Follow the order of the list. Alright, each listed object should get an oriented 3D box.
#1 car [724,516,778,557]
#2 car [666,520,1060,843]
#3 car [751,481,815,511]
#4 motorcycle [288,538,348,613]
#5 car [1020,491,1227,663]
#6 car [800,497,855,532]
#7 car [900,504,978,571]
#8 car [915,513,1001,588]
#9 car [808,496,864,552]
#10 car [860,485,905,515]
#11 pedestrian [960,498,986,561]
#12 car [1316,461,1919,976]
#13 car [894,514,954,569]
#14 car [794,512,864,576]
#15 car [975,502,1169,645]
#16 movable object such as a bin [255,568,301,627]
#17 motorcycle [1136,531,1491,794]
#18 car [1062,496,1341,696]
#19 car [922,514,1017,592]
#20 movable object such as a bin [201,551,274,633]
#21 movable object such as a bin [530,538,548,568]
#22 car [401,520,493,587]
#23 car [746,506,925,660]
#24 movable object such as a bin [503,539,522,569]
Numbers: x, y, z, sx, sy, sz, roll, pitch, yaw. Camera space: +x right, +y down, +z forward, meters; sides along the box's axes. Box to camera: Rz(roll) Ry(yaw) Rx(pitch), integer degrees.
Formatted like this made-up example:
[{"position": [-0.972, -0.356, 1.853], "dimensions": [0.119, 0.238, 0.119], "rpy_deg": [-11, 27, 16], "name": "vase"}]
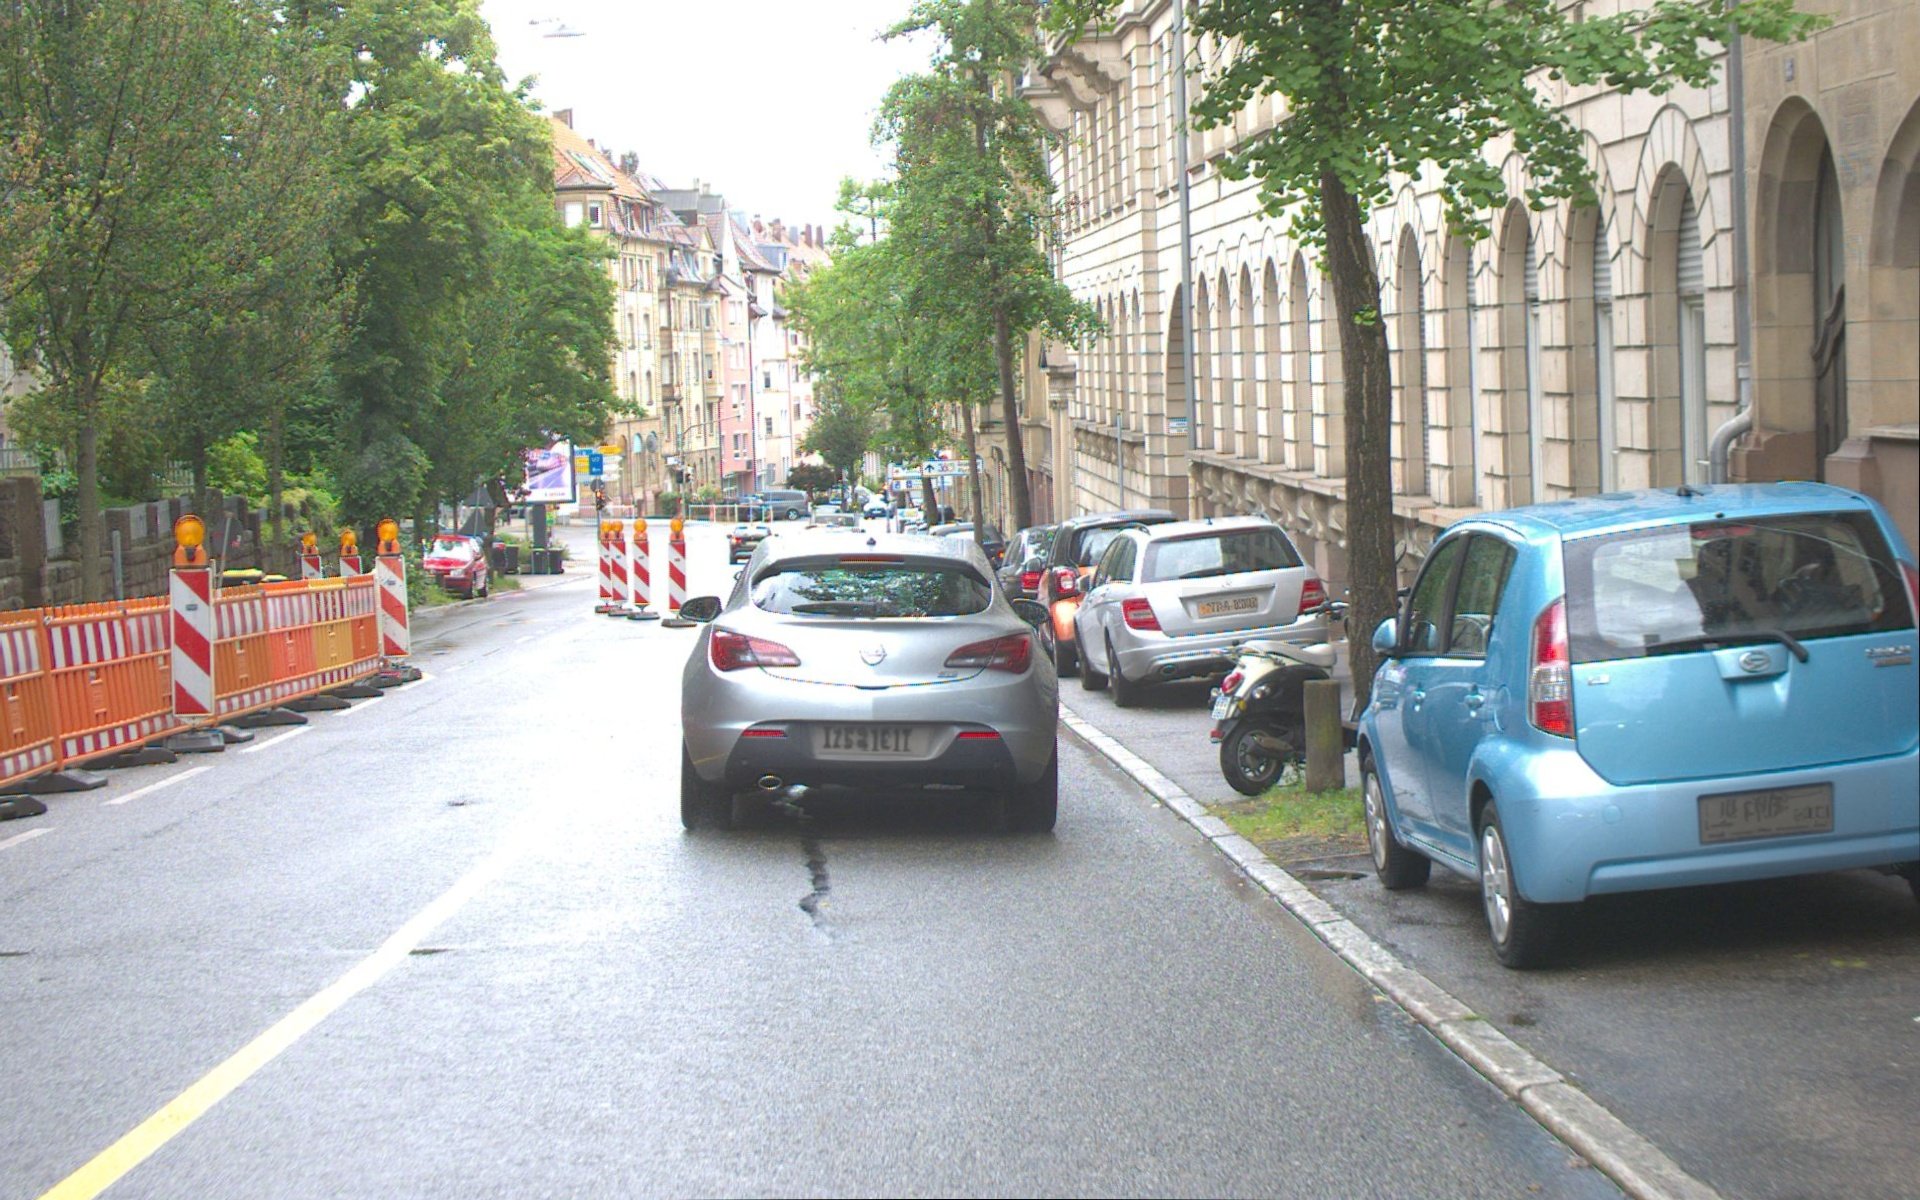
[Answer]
[{"position": [-8.135, -2.467, 133.374], "dimensions": [1.993, 1.495, 4.001], "rpy_deg": [-1, 1, -4], "name": "car"}, {"position": [-0.423, 0.334, 17.793], "dimensions": [1.811, 1.444, 3.869], "rpy_deg": [0, 2, 1], "name": "car"}, {"position": [-11.081, -6.500, 215.343], "dimensions": [3.986, 1.744, 2.000], "rpy_deg": [1, 1, -2], "name": "car"}, {"position": [-11.631, -0.454, 62.344], "dimensions": [0.765, 1.341, 2.203], "rpy_deg": [0, 1, -2], "name": "motorcycle"}, {"position": [1.587, -0.264, 34.381], "dimensions": [1.638, 1.515, 3.184], "rpy_deg": [-4, 2, -3], "name": "car"}, {"position": [-6.534, -4.204, 169.529], "dimensions": [1.994, 1.678, 3.999], "rpy_deg": [1, 1, 8], "name": "car"}, {"position": [-0.556, -1.595, 86.956], "dimensions": [1.637, 1.597, 3.859], "rpy_deg": [-2, 2, -5], "name": "car"}, {"position": [-0.065, -1.061, 72.134], "dimensions": [1.637, 1.464, 3.858], "rpy_deg": [-2, 2, -2], "name": "car"}, {"position": [-4.266, -2.613, 117.947], "dimensions": [1.715, 1.776, 3.666], "rpy_deg": [-5, 2, -3], "name": "car"}, {"position": [-4.565, -5.878, 201.987], "dimensions": [1.994, 1.678, 3.999], "rpy_deg": [1, 1, 8], "name": "car"}, {"position": [0.389, -2.096, 101.874], "dimensions": [0.716, 1.863, 0.636], "rpy_deg": [0, 1, -2], "name": "pedestrian"}, {"position": [2.450, 0.322, 12.664], "dimensions": [1.656, 1.537, 3.666], "rpy_deg": [-4, 1, -2], "name": "car"}, {"position": [-1.072, -1.741, 101.711], "dimensions": [1.637, 1.519, 3.858], "rpy_deg": [-2, 2, -2], "name": "car"}, {"position": [-3.409, -1.465, 89.306], "dimensions": [1.656, 1.537, 3.666], "rpy_deg": [-4, 1, -3], "name": "car"}, {"position": [1.252, -0.361, 40.306], "dimensions": [1.757, 1.456, 4.725], "rpy_deg": [-4, 2, -3], "name": "car"}, {"position": [-10.816, -0.041, 54.546], "dimensions": [0.604, 0.904, 0.624], "rpy_deg": [0, 2, -1], "name": "movable object such as a bin"}, {"position": [1.928, 0.309, 18.556], "dimensions": [1.933, 1.231, 0.657], "rpy_deg": [-6, 4, -38], "name": "motorcycle"}, {"position": [1.940, -0.096, 28.886], "dimensions": [1.695, 1.426, 4.423], "rpy_deg": [-4, 2, -3], "name": "car"}, {"position": [0.162, -0.935, 66.988], "dimensions": [1.637, 1.424, 3.377], "rpy_deg": [-2, 2, -3], "name": "car"}, {"position": [-10.962, -0.125, 52.161], "dimensions": [0.945, 1.210, 0.856], "rpy_deg": [0, 2, -1], "name": "movable object such as a bin"}, {"position": [-15.126, -1.689, 123.430], "dimensions": [0.625, 1.055, 0.721], "rpy_deg": [1, 1, -8], "name": "movable object such as a bin"}, {"position": [-12.007, -1.107, 80.703], "dimensions": [1.637, 1.434, 4.080], "rpy_deg": [-2, 2, -2], "name": "car"}, {"position": [-1.317, -0.224, 36.258], "dimensions": [1.772, 1.499, 3.870], "rpy_deg": [0, 2, -2], "name": "car"}, {"position": [-16.077, -1.659, 123.473], "dimensions": [0.625, 1.055, 0.634], "rpy_deg": [1, 1, -8], "name": "movable object such as a bin"}]
